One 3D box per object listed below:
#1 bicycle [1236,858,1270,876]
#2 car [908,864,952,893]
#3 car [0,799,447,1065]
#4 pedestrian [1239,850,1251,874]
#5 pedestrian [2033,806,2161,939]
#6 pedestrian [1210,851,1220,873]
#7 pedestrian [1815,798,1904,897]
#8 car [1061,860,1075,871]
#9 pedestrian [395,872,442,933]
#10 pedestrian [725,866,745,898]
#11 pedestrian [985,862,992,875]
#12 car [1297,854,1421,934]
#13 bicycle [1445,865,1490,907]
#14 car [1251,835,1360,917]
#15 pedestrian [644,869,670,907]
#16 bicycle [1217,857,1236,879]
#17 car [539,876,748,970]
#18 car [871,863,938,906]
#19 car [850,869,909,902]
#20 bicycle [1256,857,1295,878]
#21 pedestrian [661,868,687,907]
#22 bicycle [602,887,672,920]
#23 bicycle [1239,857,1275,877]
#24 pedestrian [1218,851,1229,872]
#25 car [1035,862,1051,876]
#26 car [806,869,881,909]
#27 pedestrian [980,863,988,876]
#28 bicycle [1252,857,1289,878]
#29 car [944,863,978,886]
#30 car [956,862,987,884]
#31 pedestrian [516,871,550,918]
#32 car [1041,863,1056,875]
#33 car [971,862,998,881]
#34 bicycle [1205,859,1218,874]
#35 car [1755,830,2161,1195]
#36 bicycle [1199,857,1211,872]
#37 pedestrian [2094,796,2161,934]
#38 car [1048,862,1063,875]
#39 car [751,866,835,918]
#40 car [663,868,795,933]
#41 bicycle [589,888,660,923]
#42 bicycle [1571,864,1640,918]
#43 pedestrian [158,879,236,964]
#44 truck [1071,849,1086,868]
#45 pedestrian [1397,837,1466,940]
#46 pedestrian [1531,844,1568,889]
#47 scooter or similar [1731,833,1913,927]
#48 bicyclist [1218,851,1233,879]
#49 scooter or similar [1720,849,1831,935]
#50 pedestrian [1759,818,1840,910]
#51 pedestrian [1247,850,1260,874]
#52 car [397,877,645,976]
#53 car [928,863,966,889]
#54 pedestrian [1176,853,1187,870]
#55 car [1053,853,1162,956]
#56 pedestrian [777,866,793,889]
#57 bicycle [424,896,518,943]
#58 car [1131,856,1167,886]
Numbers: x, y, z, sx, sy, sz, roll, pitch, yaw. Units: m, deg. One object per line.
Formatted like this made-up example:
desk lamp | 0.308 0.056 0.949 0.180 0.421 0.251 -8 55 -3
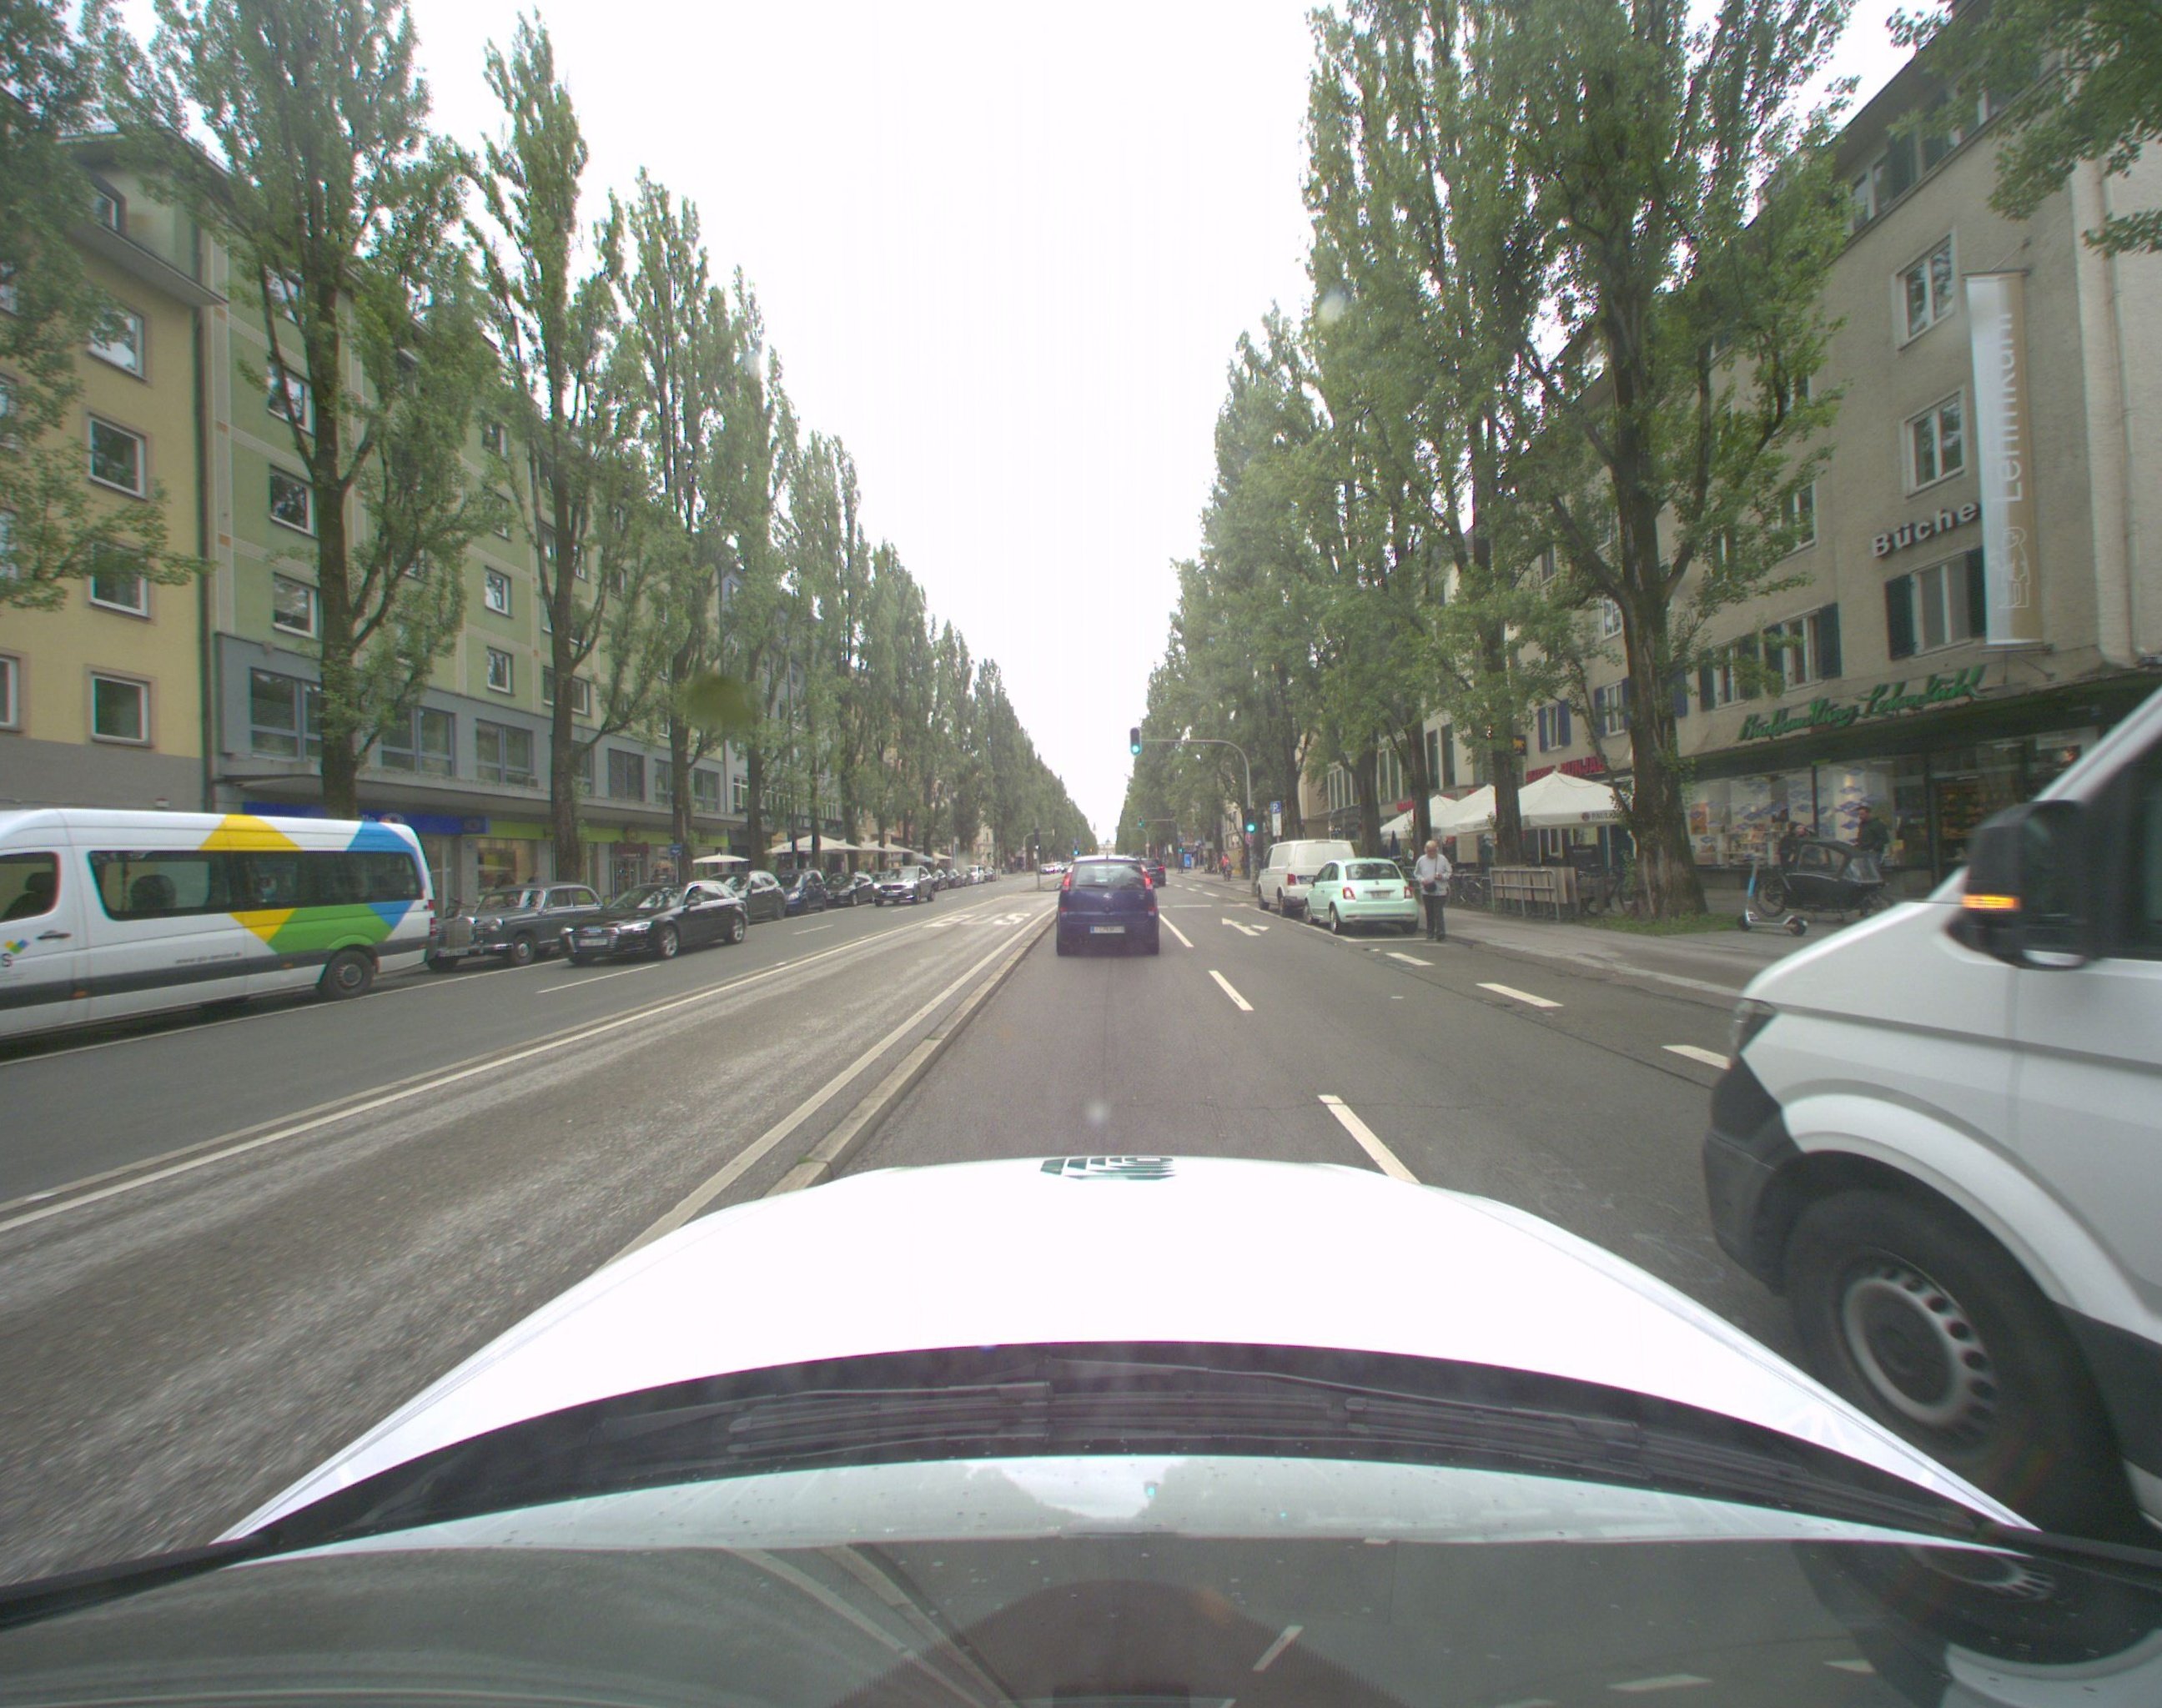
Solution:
bicycle | 11.911 0.899 56.418 2.220 1.204 0.626 -3 -1 -1
car | -9.746 1.550 52.825 1.859 1.665 4.122 -4 0 2
car | -11.381 0.817 9.652 1.998 2.568 6.914 -4 0 2
pedestrian | 12.886 0.627 64.023 0.636 1.827 0.885 0 -1 -8
pedestrian | 13.637 0.240 10.860 0.794 1.677 0.877 -2 -1 2
pedestrian | 11.340 0.690 68.897 0.636 1.827 0.885 0 -1 -8
pedestrian | 15.331 -0.127 16.063 0.952 1.865 0.748 -2 -1 4
car | -1.830 1.621 115.480 1.728 1.465 3.366 -2 0 2
pedestrian | -18.932 1.372 23.287 0.753 1.686 0.675 -3 -2 3
pedestrian | -18.956 1.530 44.610 0.753 1.686 0.675 -3 -2 3
pedestrian | -12.265 1.933 107.685 0.767 1.766 0.882 -2 -1 -9
car | 5.746 0.775 17.243 1.535 1.492 3.525 -1 -1 3
bicycle | 9.800 0.801 20.671 0.348 0.996 1.453 -3 -1 -2
car | 5.968 0.549 22.260 1.781 1.946 4.732 -2 0 2
pedestrian | -19.191 1.541 36.874 0.753 1.686 0.675 -3 -2 3
bicycle | 9.368 0.900 52.552 0.769 1.349 2.450 -2 -1 1
car | -8.411 1.250 16.144 1.739 1.434 4.131 -4 0 2
car | -7.542 1.259 35.268 1.764 1.635 4.456 -3 0 1
car | -10.151 1.538 41.292 1.727 1.425 4.145 -4 0 2
bicycle | 12.057 0.823 50.513 2.220 1.204 0.626 -3 -1 -1
pedestrian | -18.376 1.499 36.769 0.753 1.686 0.675 -3 -2 3
bicycle | -15.249 1.683 28.006 1.943 1.095 0.718 0 0 -5
bicycle | 11.890 0.883 55.039 2.220 1.204 0.626 -3 -1 -1
pedestrian | 12.091 0.649 69.256 0.636 1.827 0.885 0 -1 -8
car | -5.128 2.027 110.792 1.859 1.665 4.122 -2 0 2
car | -10.365 1.475 35.848 1.792 1.489 4.352 -4 0 2
pedestrian | -13.084 2.078 109.595 0.770 1.766 0.878 -2 -1 -23
bicycle | 12.123 0.846 52.119 2.220 1.204 0.626 -3 -1 -1
car | -9.363 1.573 63.766 1.859 1.665 4.122 -4 0 2
car | -9.209 1.597 69.027 1.859 1.665 4.122 -4 0 2
pedestrian | -20.332 1.491 30.222 0.670 1.686 0.759 -3 -2 3
car | -4.686 2.146 117.135 1.859 1.665 4.122 -2 0 2
car | -9.015 1.610 76.303 1.859 1.665 4.122 -4 0 2
bicycle | 11.821 1.112 73.813 0.769 1.349 2.450 -2 -1 1
car | 5.275 0.651 4.045 1.587 1.518 2.729 -1 0 0
bicycle | 12.004 0.988 78.754 0.769 1.349 2.450 -2 -1 1
pedestrian | 14.425 0.136 10.815 0.768 1.796 0.877 -2 -1 2
car | -3.999 2.263 127.100 1.986 2.014 4.001 -2 -1 1
car | -10.691 1.357 30.499 1.704 1.721 3.920 -4 0 -1
car | -10.708 1.345 25.177 1.859 1.664 4.613 -4 0 2
bicycle | -15.216 1.708 27.174 1.943 1.095 0.718 0 0 -5
bicycle | 10.482 0.722 16.317 0.348 0.996 1.453 -3 -1 -2
pedestrian | -18.415 1.385 16.978 0.753 1.686 0.785 -3 -2 3
truck | -0.407 0.866 152.603 2.374 3.347 7.113 -2 0 2
pedestrian | 6.287 0.603 14.607 0.819 1.773 0.876 -3 -1 44
pedestrian | 14.311 0.388 24.882 0.636 1.324 0.800 -2 -1 1
scooter or similar | 12.140 0.377 13.499 0.634 1.376 2.493 -3 0 -2
bicyclist | 9.362 0.700 52.623 0.764 1.766 0.885 -2 -1 1
scooter or similar | 10.465 0.555 12.335 0.326 1.216 1.443 -3 -1 -2
pedestrian | 13.255 0.185 15.041 0.614 1.605 0.870 -4 -1 -1
pedestrian | 13.676 0.626 64.507 0.719 1.827 0.885 0 -1 -8
car | -11.177 1.363 16.745 1.859 1.552 4.416 -4 0 2
car | -9.543 1.556 58.241 1.859 1.665 4.122 -4 0 2
pedestrian | 10.414 0.779 84.420 0.880 1.766 0.769 -2 -1 -1
car | 0.486 0.796 14.665 1.665 1.568 4.002 -1 0 2
pedestrian | -18.632 1.483 51.305 0.763 1.410 0.799 0 -1 -3
bicycle | -15.324 1.638 20.485 1.860 1.095 0.720 0 0 4
car | 3.940 0.977 47.907 1.889 1.622 4.002 -1 0 2
